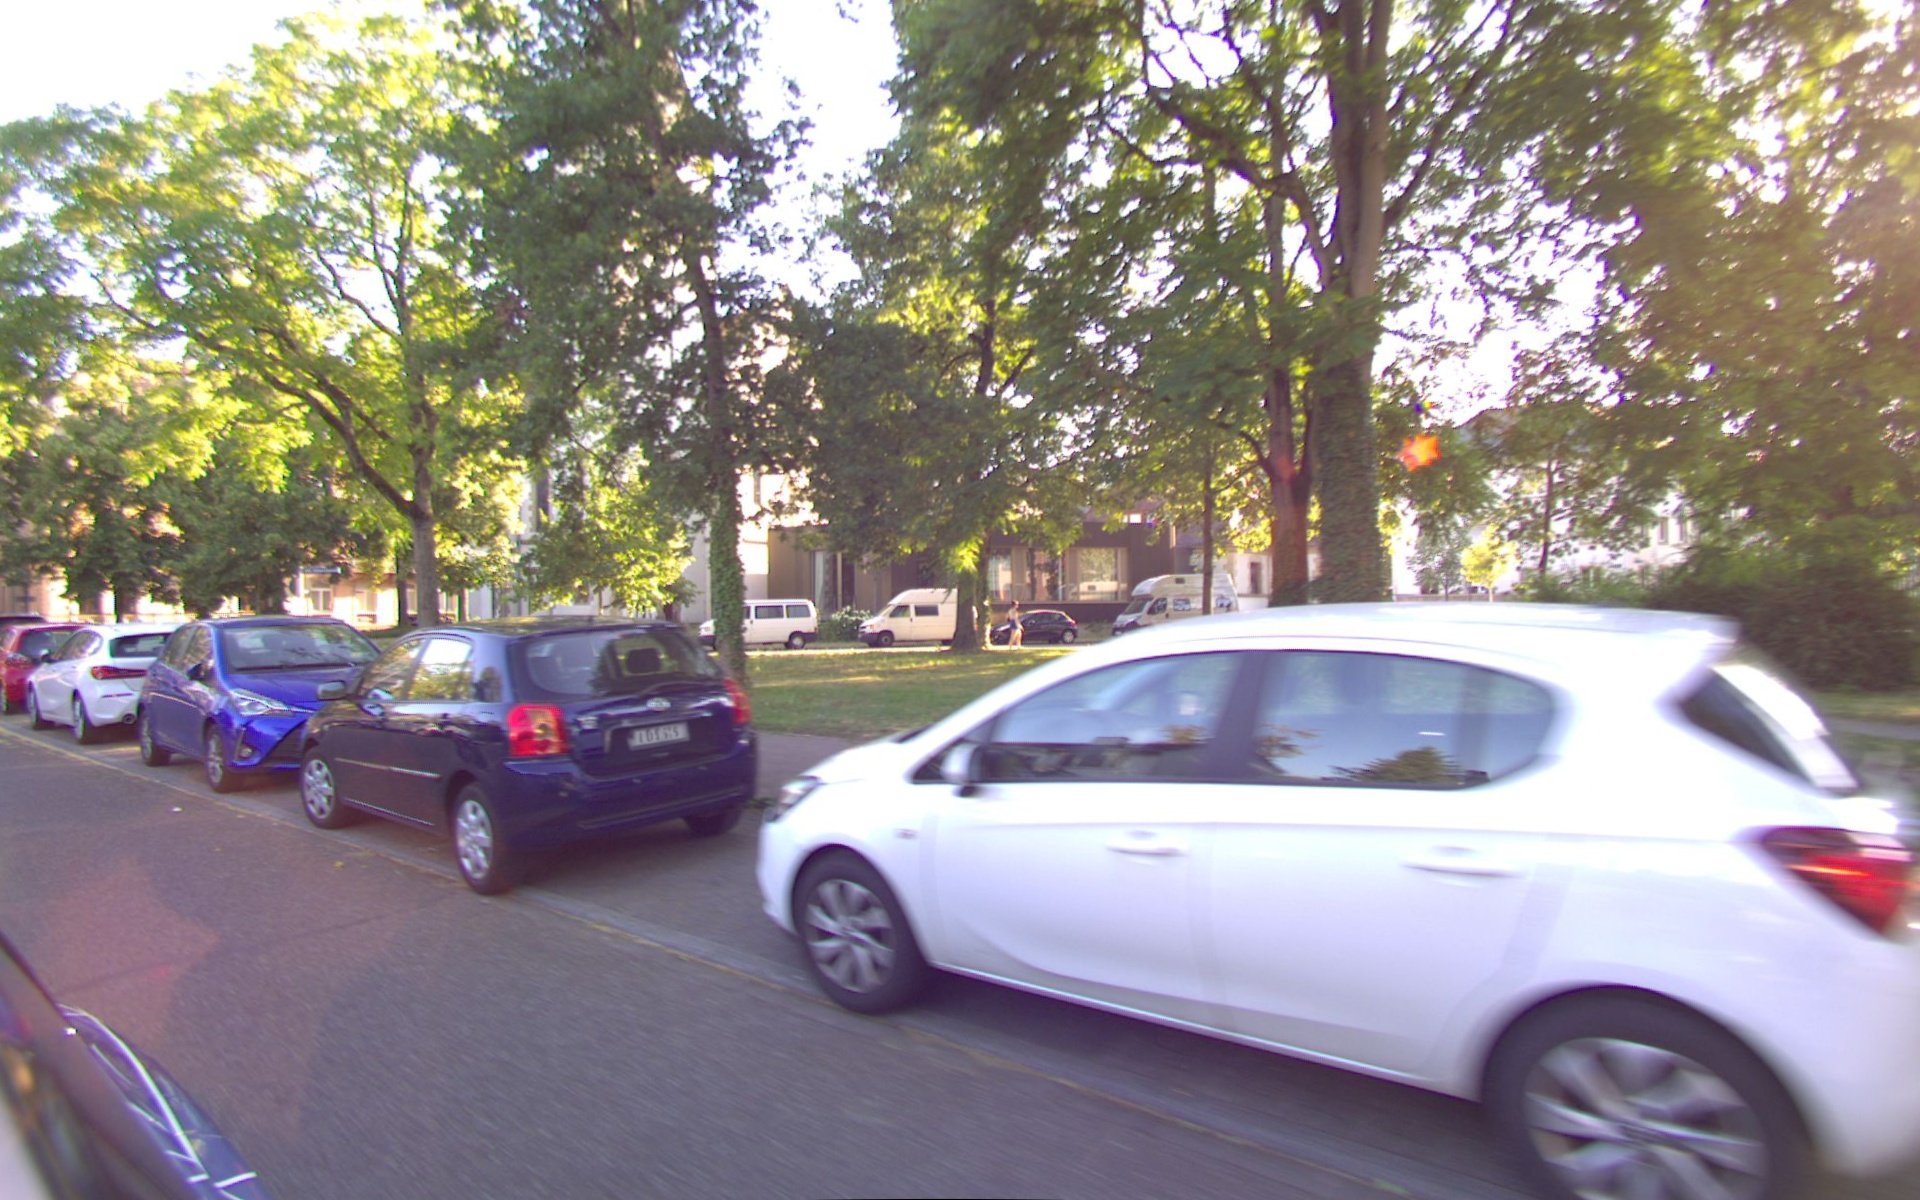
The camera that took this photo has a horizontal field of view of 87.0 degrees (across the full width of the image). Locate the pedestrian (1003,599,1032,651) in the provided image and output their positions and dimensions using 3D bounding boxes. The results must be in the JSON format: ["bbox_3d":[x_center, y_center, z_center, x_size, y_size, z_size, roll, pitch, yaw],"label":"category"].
[{"bbox_3d":[1.813,0.780,31.784,0.756,1.586,0.777,-1,-1,-7],"label":"pedestrian"}]

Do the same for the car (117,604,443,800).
[{"bbox_3d":[-6.739,0.852,9.906,3.701,1.507,1.622,-1,1,39],"label":"car"}]

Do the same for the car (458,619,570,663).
[{"bbox_3d":[-16.542,1.512,37.726,3.634,1.513,1.626,-1,-1,-16],"label":"car"}]

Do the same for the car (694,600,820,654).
[{"bbox_3d":[-8.080,1.046,40.228,4.758,1.961,1.863,-1,-1,-16],"label":"car"}]

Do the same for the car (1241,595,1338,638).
[{"bbox_3d":[15.594,0.773,47.882,4.072,1.900,1.863,-1,-1,-22],"label":"car"}]

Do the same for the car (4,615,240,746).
[{"bbox_3d":[-11.237,0.971,13.480,3.971,1.417,1.673,-1,1,39],"label":"car"}]

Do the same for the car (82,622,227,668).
[{"bbox_3d":[-27.533,1.524,34.719,3.545,1.451,1.622,-1,-2,-15],"label":"car"}]

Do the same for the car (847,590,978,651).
[{"bbox_3d":[-1.972,0.832,42.262,5.096,2.373,1.863,-1,-1,-22],"label":"car"}]

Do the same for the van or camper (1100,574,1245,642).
[{"bbox_3d":[9.741,0.344,46.327,6.223,2.930,2.103,-1,-1,-19],"label":"van or camper"}]

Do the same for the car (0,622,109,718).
[{"bbox_3d":[-15.974,1.150,17.435,3.423,1.434,1.374,-1,1,40],"label":"car"}]

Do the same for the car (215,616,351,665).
[{"bbox_3d":[-23.689,1.395,35.544,3.634,1.591,1.715,-1,-1,-16],"label":"car"}]

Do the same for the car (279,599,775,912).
[{"bbox_3d":[-3.084,0.788,6.777,3.941,1.506,1.535,-2,-1,42],"label":"car"}]

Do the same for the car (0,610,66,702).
[{"bbox_3d":[-19.611,1.108,20.323,4.316,1.688,1.784,-1,1,39],"label":"car"}]

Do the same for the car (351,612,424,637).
[{"bbox_3d":[-41.076,1.763,72.660,1.997,1.668,4.166,-1,-1,38],"label":"car"}]

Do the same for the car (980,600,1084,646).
[{"bbox_3d":[3.116,0.982,44.103,4.072,1.900,1.863,-1,-1,-22],"label":"car"}]

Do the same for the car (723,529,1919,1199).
[{"bbox_3d":[1.044,0.664,3.566,3.859,1.538,1.577,-2,-1,38],"label":"car"}]
